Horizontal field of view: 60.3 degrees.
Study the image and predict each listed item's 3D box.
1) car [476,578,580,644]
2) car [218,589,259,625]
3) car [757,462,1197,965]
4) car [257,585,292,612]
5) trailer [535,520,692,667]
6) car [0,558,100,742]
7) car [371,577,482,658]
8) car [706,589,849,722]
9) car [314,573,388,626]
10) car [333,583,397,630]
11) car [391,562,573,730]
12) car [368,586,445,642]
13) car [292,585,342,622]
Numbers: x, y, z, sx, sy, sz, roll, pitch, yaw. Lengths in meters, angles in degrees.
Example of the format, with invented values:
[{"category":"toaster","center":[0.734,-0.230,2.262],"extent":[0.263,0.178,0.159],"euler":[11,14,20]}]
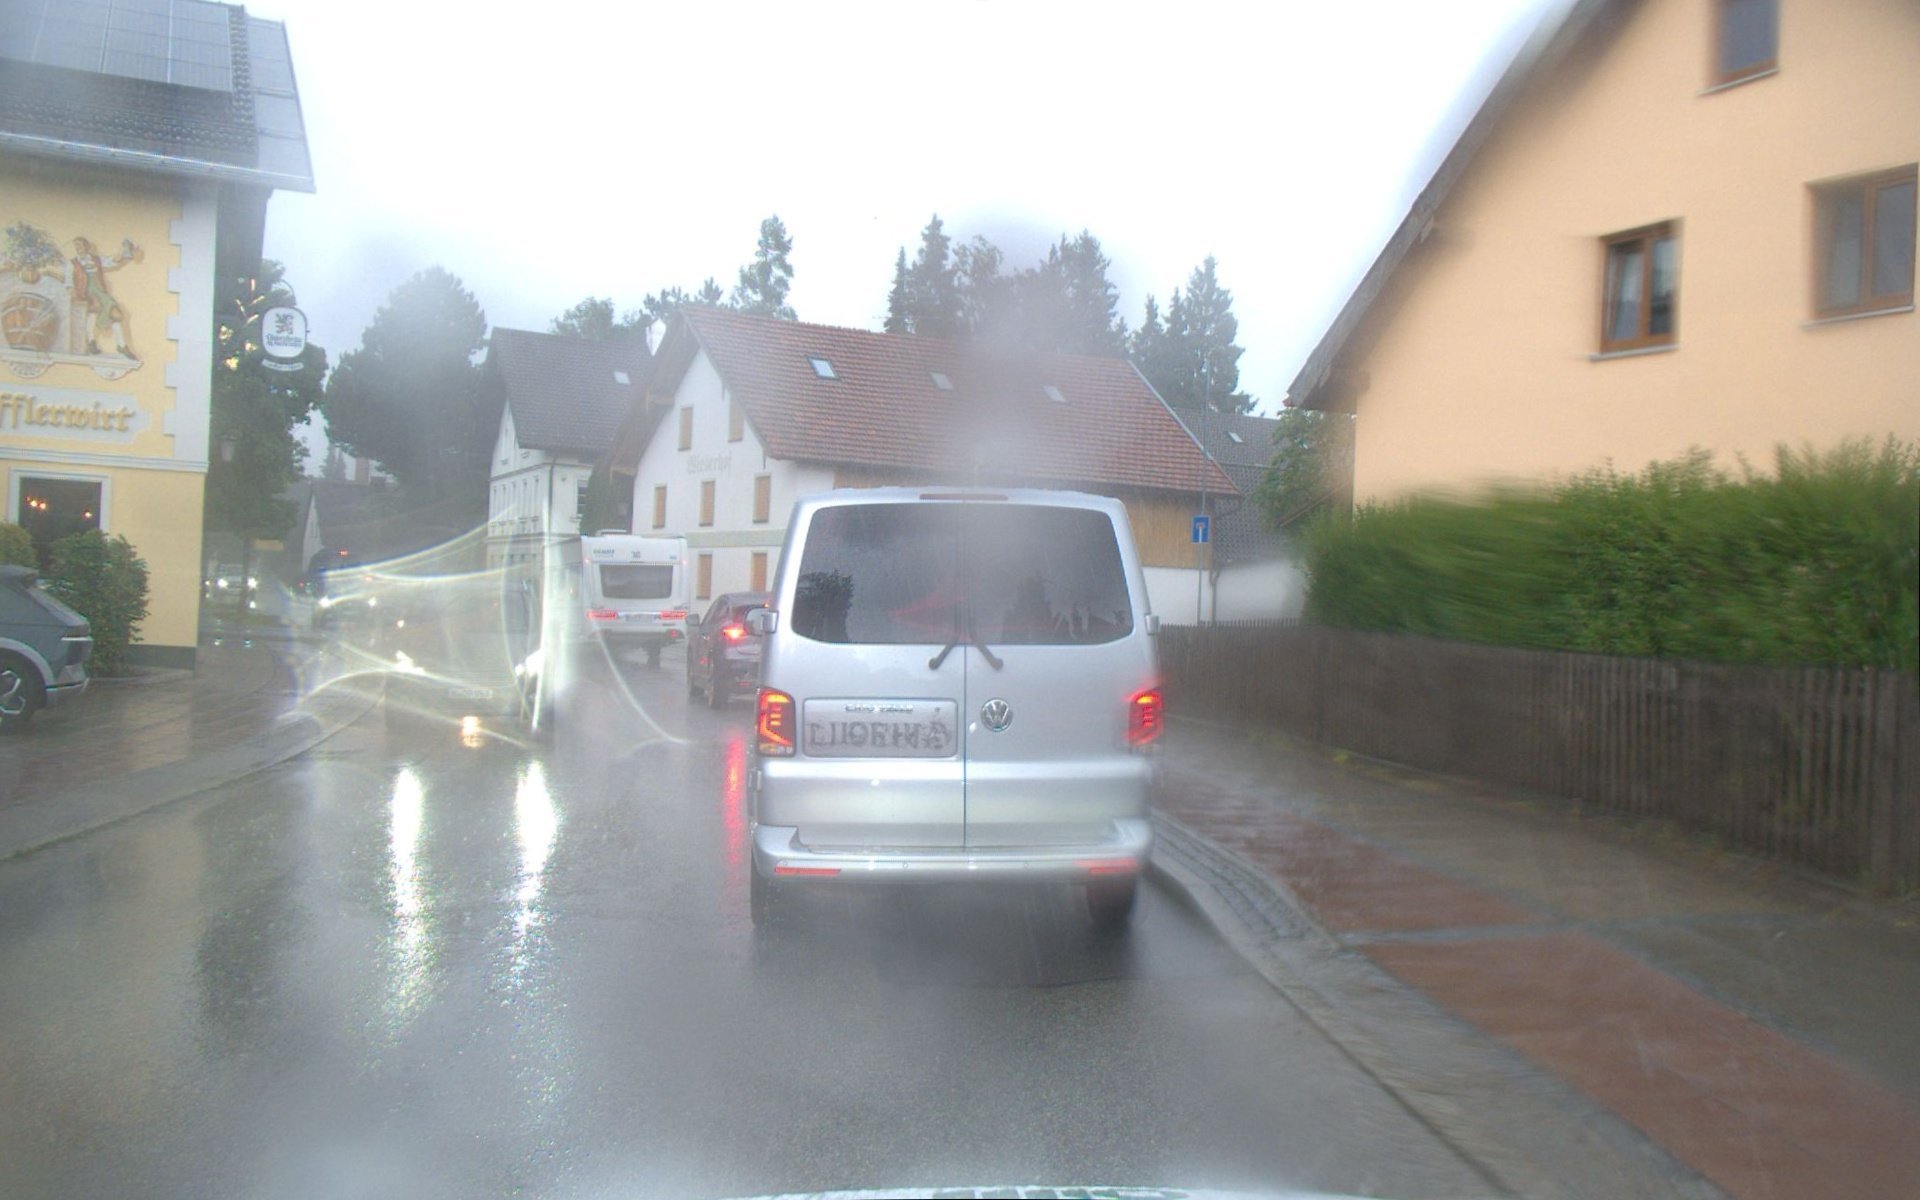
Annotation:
[{"category":"car","center":[-13.720,0.334,52.348],"extent":[2.143,1.932,4.971],"euler":[3,-1,-27]},{"category":"car","center":[-40.995,0.388,93.882],"extent":[1.829,2.006,4.659],"euler":[0,0,-28]},{"category":"car","center":[0.065,0.457,9.146],"extent":[1.740,1.997,5.073],"euler":[0,0,0]},{"category":"car","center":[-55.090,-0.116,132.871],"extent":[2.143,1.932,4.972],"euler":[3,0,-27]},{"category":"trailer","center":[-7.742,-0.133,36.435],"extent":[2.240,2.955,6.088],"euler":[1,0,-23]},{"category":"car","center":[-10.482,0.310,15.239],"extent":[4.426,1.594,1.822],"euler":[5,0,-29]},{"category":"car","center":[-11.959,0.370,36.917],"extent":[1.733,1.707,3.964],"euler":[0,0,-28]},{"category":"car","center":[-2.675,0.684,23.369],"extent":[1.677,1.611,4.674],"euler":[-1,1,-10]},{"category":"car","center":[-19.731,-0.011,53.515],"extent":[1.571,1.638,3.500],"euler":[1,0,-32]},{"category":"car","center":[-27.346,0.278,75.917],"extent":[2.143,1.932,4.972],"euler":[3,0,-27]},{"category":"car","center":[-5.815,0.479,19.824],"extent":[1.893,1.775,4.168],"euler":[0,0,-19]},{"category":"car","center":[-21.935,0.525,65.415],"extent":[2.143,1.932,4.972],"euler":[3,0,-27]},{"category":"car","center":[-37.157,0.179,95.516],"extent":[2.143,1.932,4.972],"euler":[3,0,-27]}]
